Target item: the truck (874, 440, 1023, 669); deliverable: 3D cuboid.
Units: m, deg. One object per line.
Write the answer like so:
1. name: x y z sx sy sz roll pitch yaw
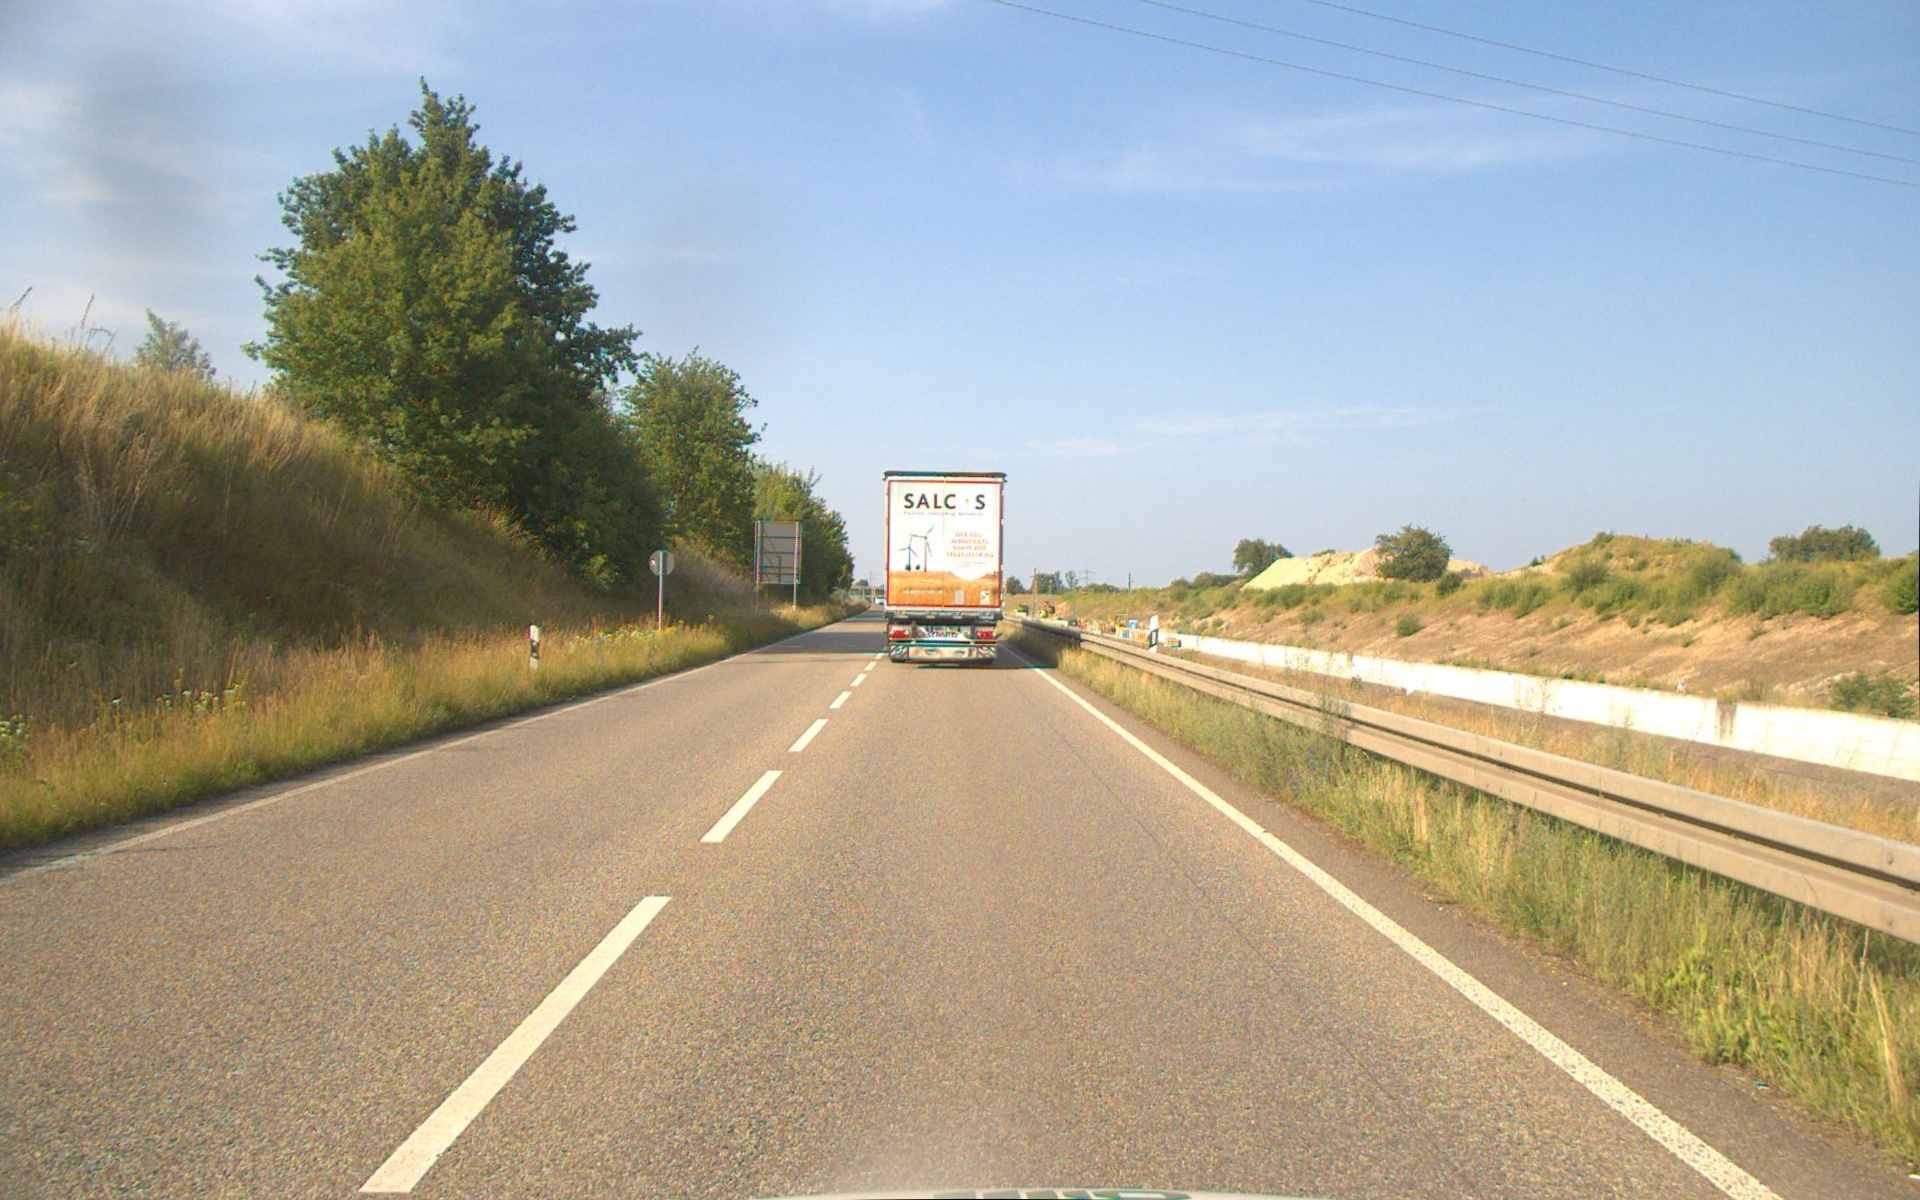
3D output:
1. truck: -0.403 -0.949 38.852 3.090 4.770 8.437 0 0 -2
